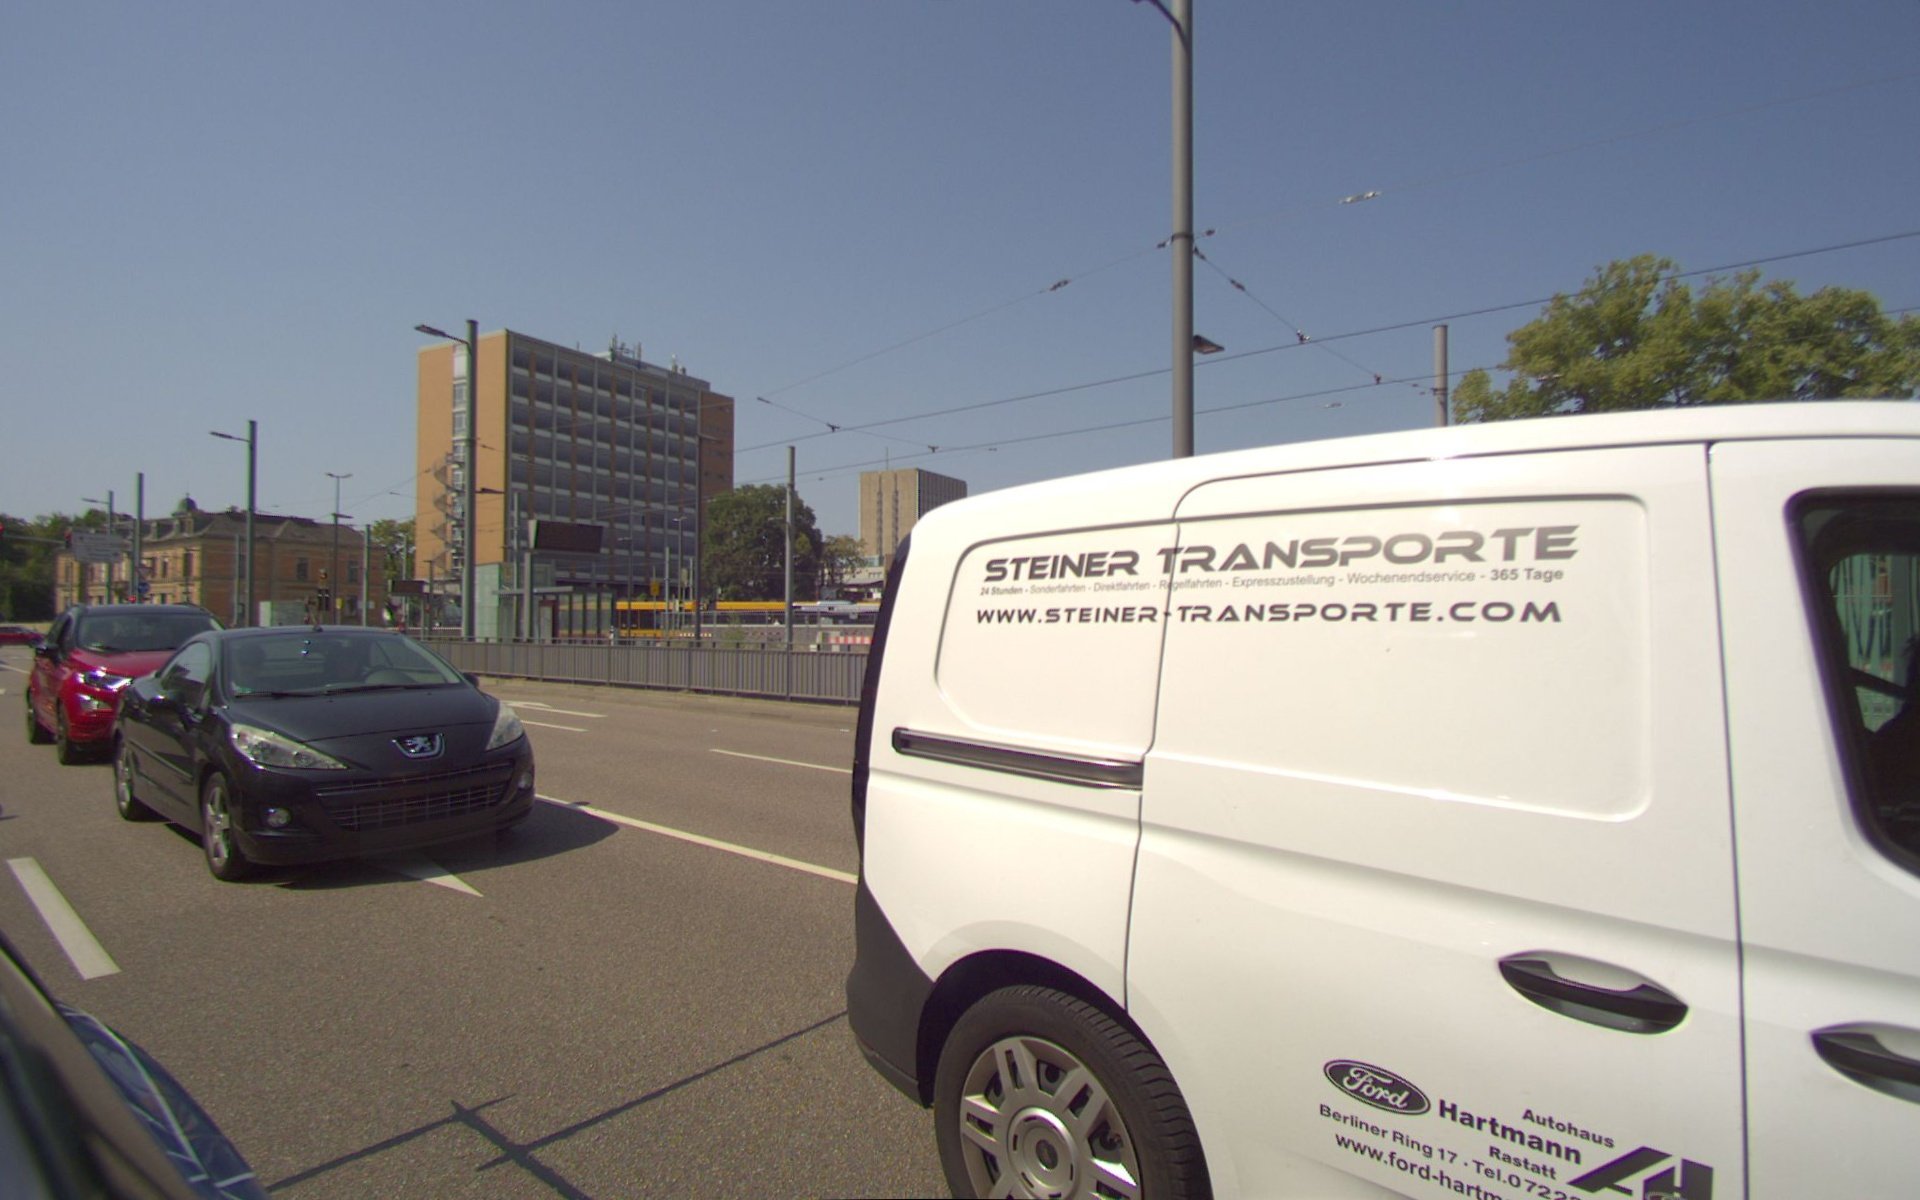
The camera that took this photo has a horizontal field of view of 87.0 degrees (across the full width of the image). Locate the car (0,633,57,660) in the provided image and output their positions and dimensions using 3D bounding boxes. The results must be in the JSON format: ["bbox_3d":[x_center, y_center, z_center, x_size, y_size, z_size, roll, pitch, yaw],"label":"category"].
[{"bbox_3d":[-65.827,3.239,70.380,4.214,1.745,1.889,-1,0,-32],"label":"car"}]

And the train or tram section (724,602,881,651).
[{"bbox_3d":[-12.362,2.100,80.094,12.180,3.794,2.002,0,-2,-4],"label":"train or tram section"}]

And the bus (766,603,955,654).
[{"bbox_3d":[-7.152,2.018,73.317,13.205,3.319,3.354,-1,0,-4],"label":"bus"}]

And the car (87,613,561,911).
[{"bbox_3d":[-4.412,0.828,6.787,3.799,1.424,1.671,-1,-1,41],"label":"car"}]

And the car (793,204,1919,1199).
[{"bbox_3d":[1.751,0.467,1.718,4.237,1.834,1.729,-1,-1,41],"label":"car"}]

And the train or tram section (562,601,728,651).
[{"bbox_3d":[-24.511,2.057,79.164,12.180,3.794,2.002,0,-2,-4],"label":"train or tram section"}]

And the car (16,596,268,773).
[{"bbox_3d":[-9.192,0.812,11.254,3.967,1.633,1.612,-1,-1,42],"label":"car"}]

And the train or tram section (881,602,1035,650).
[{"bbox_3d":[-0.203,2.106,81.023,12.180,3.794,2.002,0,-2,-4],"label":"train or tram section"}]
